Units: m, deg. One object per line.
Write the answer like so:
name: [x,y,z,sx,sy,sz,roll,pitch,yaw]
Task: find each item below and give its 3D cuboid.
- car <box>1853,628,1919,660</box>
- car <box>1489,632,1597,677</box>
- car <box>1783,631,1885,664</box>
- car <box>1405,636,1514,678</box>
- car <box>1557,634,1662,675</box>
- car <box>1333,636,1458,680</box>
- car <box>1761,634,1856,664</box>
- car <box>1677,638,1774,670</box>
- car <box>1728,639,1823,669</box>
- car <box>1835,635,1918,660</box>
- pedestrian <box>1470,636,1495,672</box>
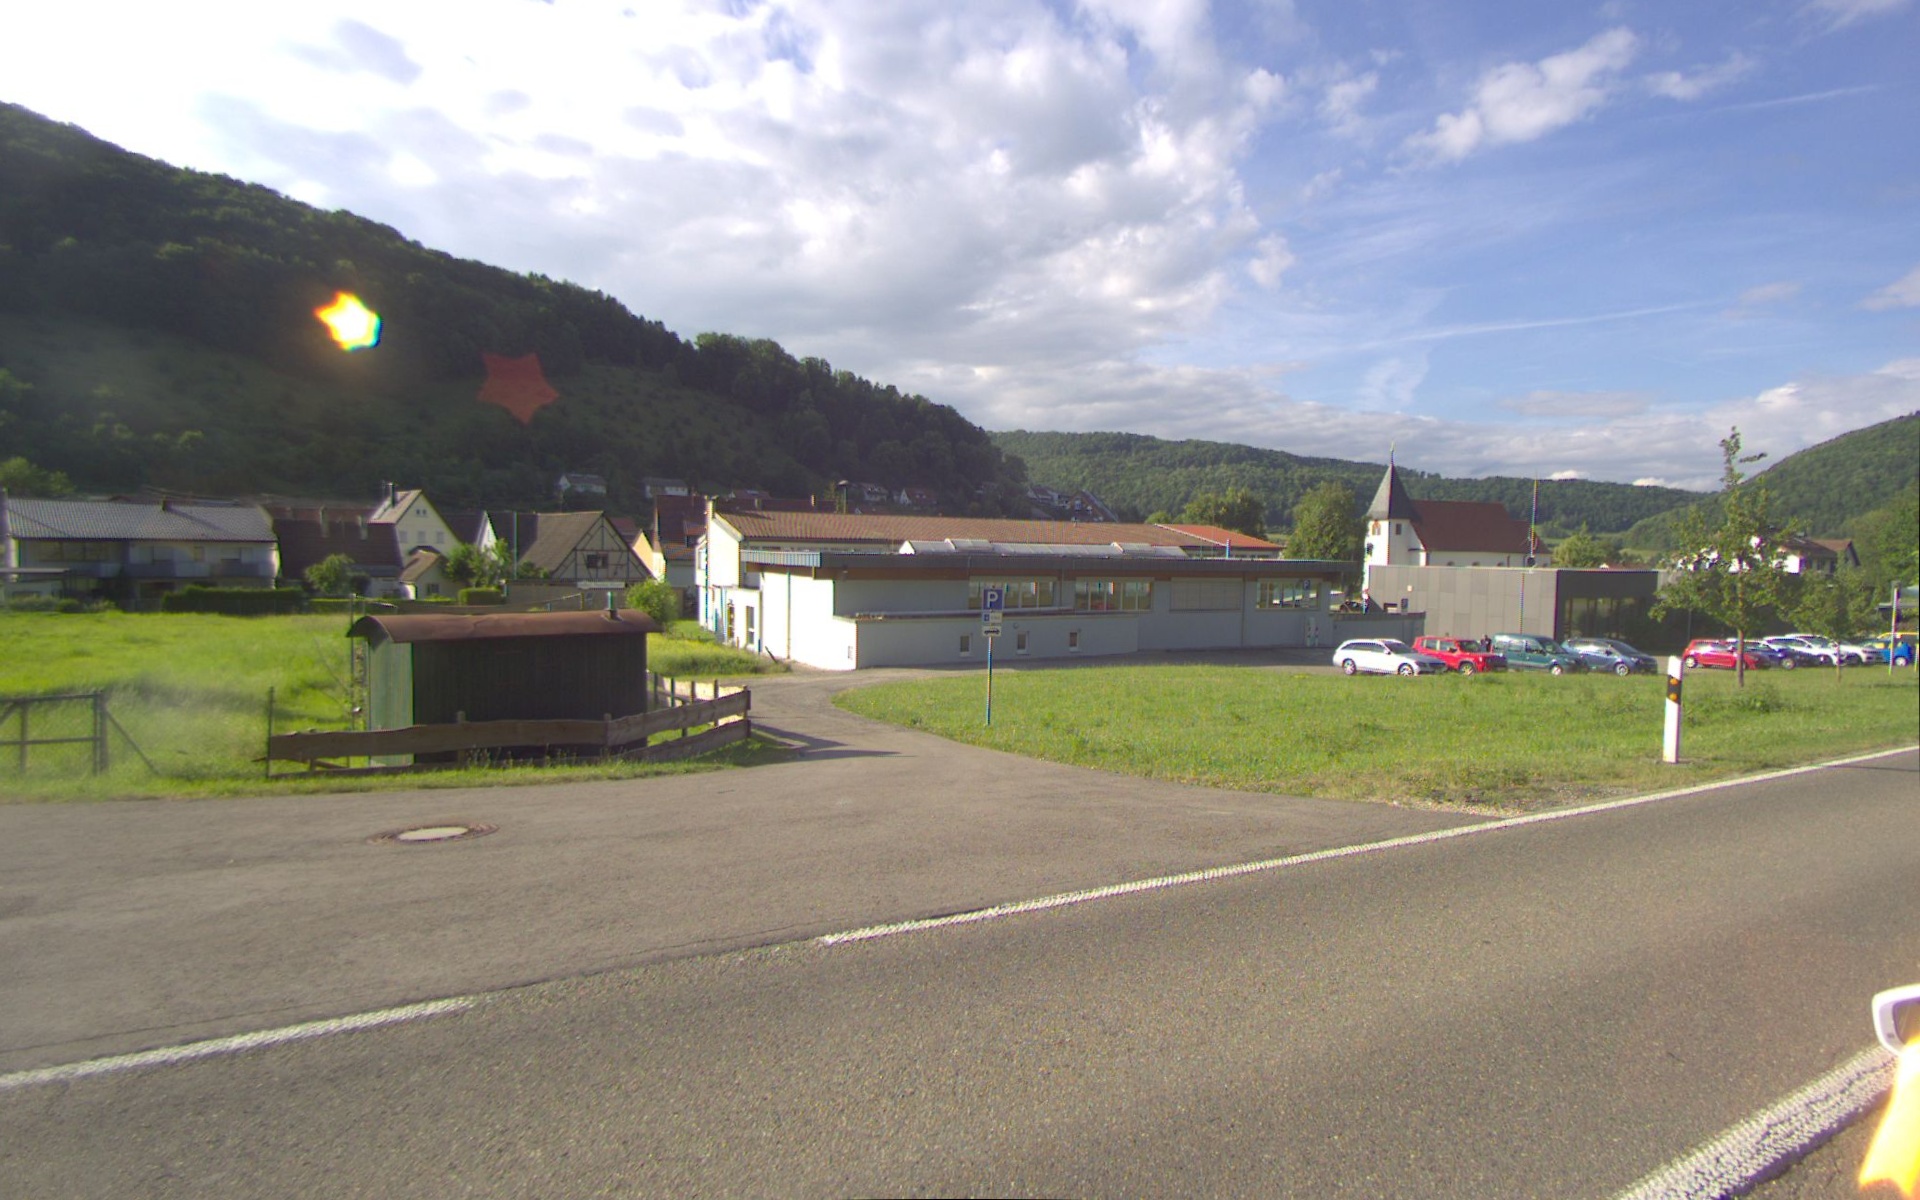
car: [56.777,2.632,60.184,1.816,1.839,4.540,1,-1,-24]
car: [25.914,2.391,44.748,1.734,1.745,3.846,1,0,-27]
car: [49.133,2.635,56.570,1.575,1.695,4.066,0,-1,-24]
car: [20.941,2.365,42.280,1.732,1.600,3.907,1,-1,-25]
car: [30.056,2.502,46.593,1.709,1.744,3.806,1,-1,-25]
car: [17.962,2.364,41.702,1.973,1.610,4.626,1,-1,-25]
car: [46.230,2.658,54.811,1.575,1.513,3.656,2,-1,-24]
car: [38.957,2.741,51.169,1.626,1.463,3.614,1,-1,-24]
car: [43.342,2.840,53.460,1.575,1.424,3.614,-1,0,-24]
car: [54.202,2.801,59.449,1.642,1.392,3.351,1,-1,-32]
pedestrian: [25.353,2.615,48.738,0.699,1.716,0.788,1,1,-38]
